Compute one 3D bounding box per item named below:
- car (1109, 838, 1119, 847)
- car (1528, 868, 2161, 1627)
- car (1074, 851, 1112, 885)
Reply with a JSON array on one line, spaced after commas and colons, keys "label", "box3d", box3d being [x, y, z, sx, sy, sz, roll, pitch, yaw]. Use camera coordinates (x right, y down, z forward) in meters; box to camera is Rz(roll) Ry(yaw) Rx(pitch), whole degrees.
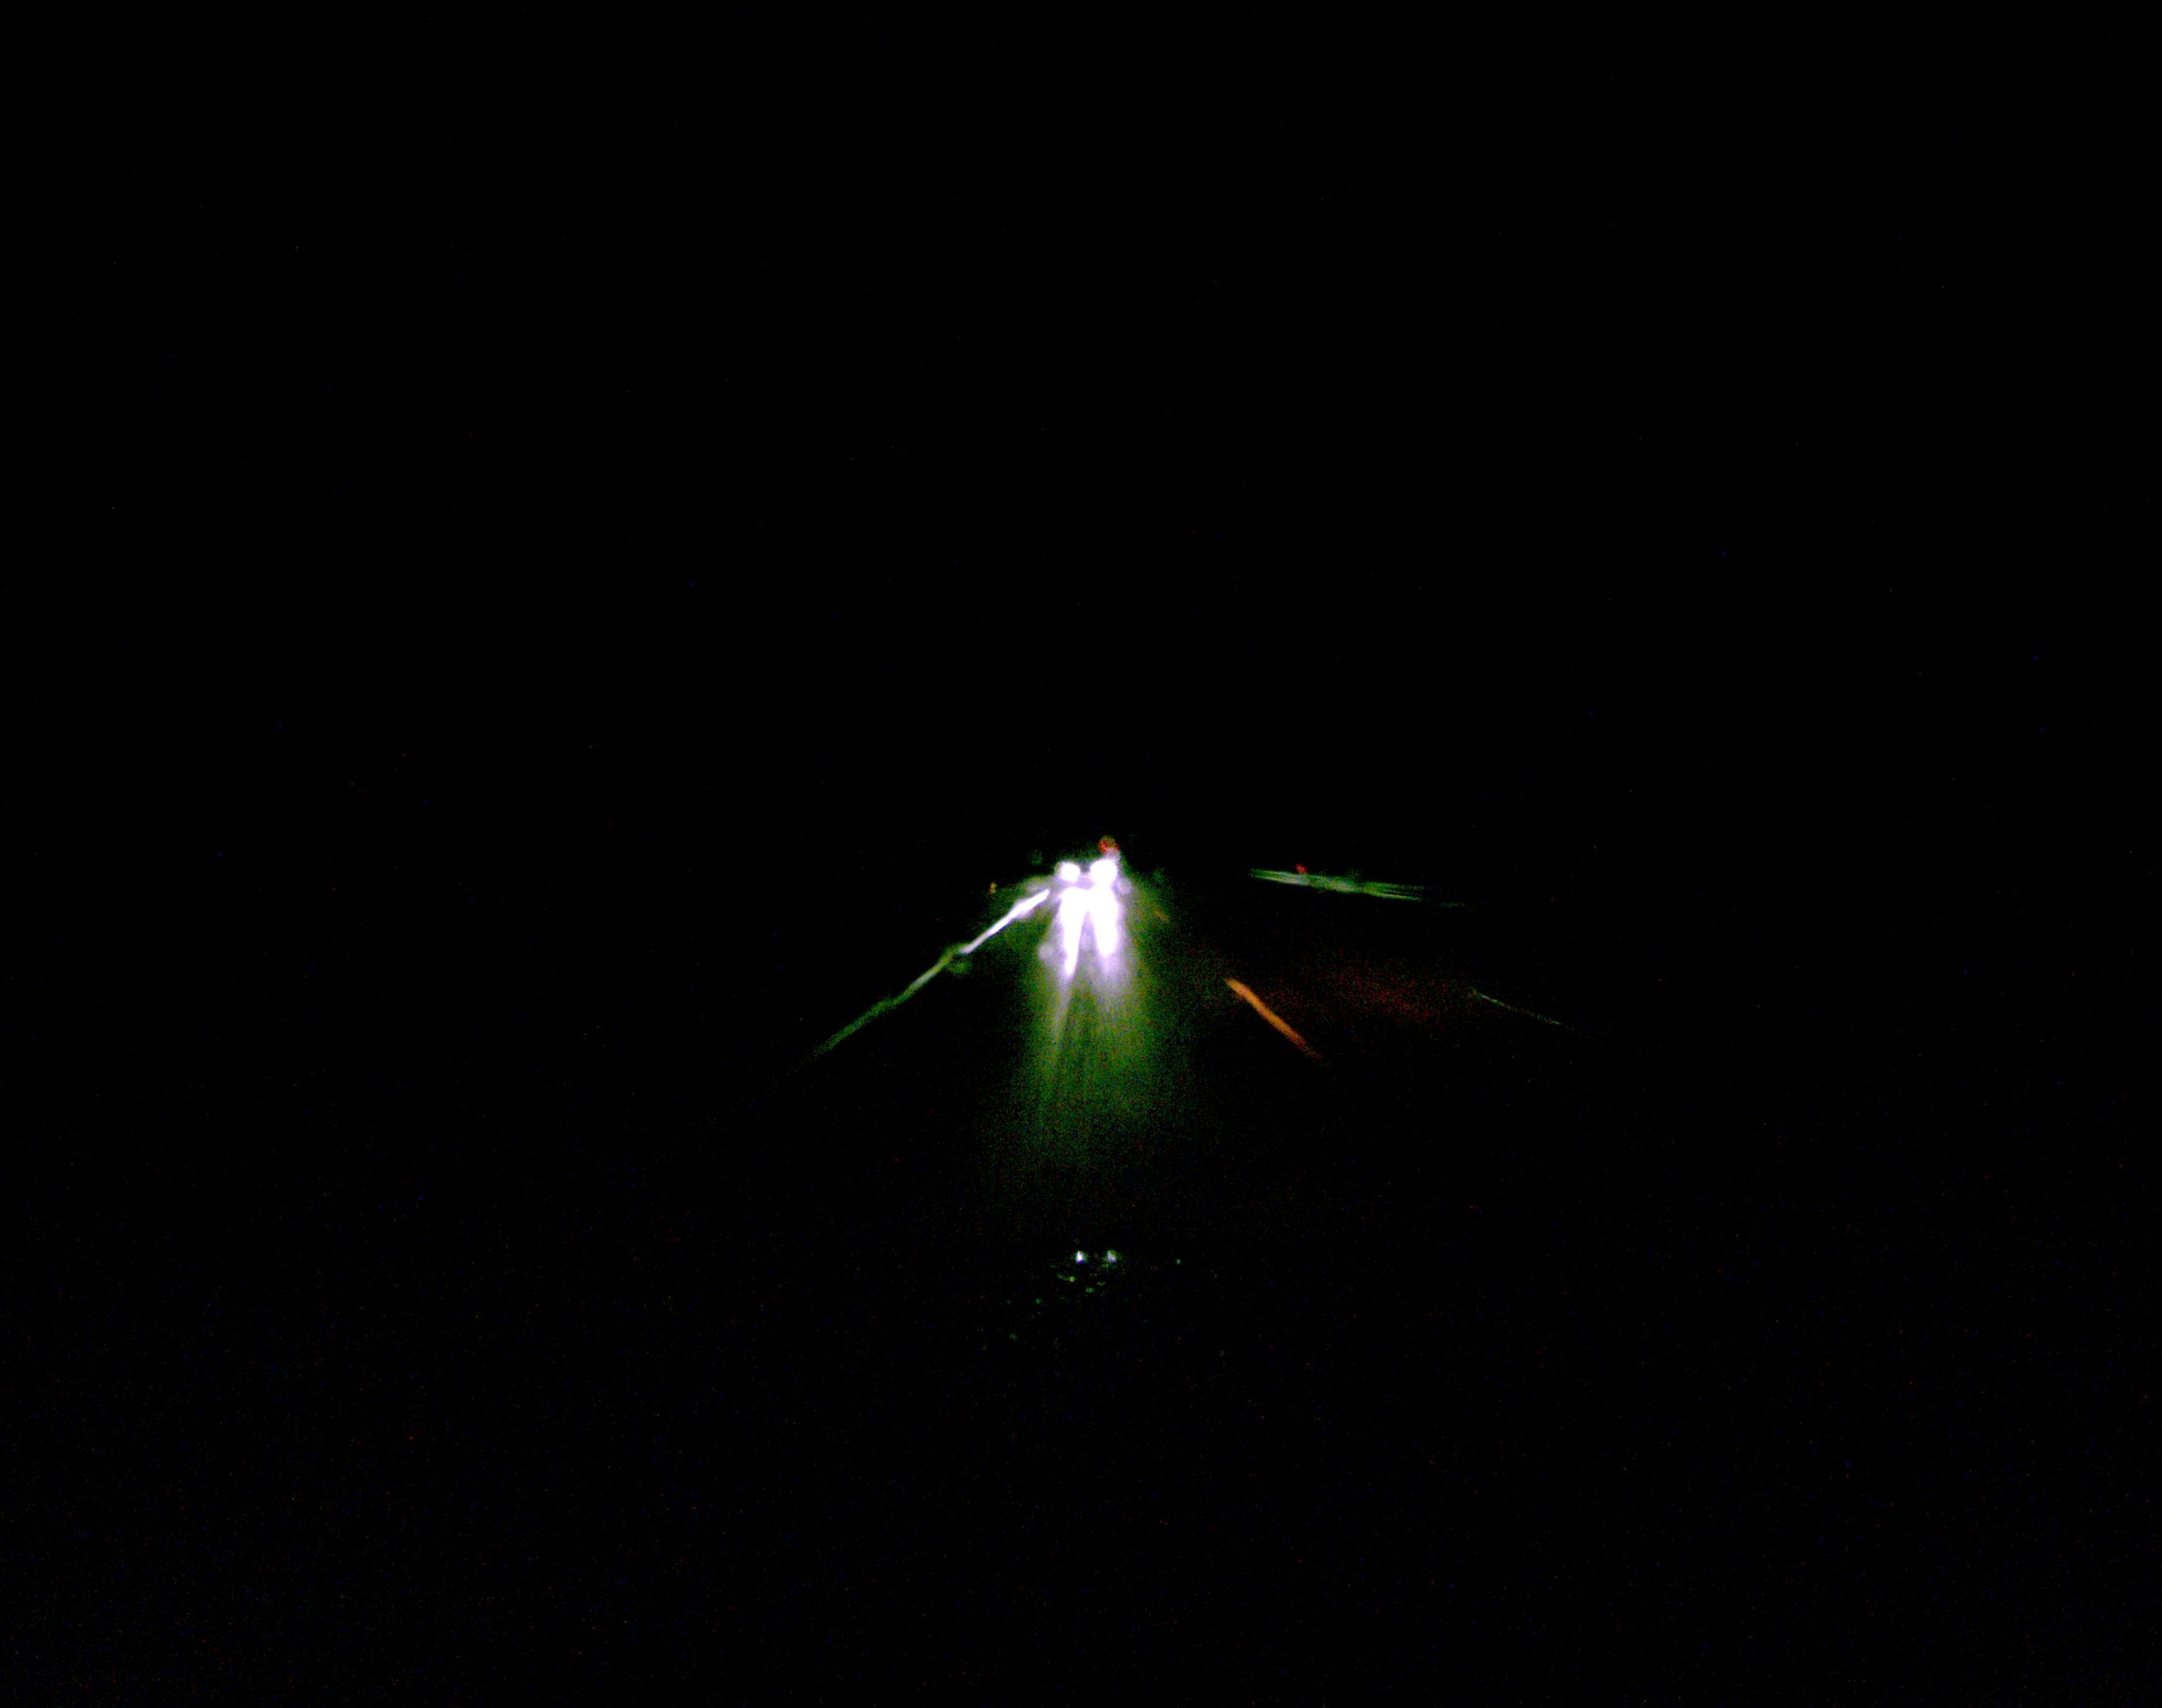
[{"label": "car", "box3d": [6.317, -2.170, 147.000, 1.745, 1.632, 3.598, -3, 2, 0]}, {"label": "car", "box3d": [3.196, 0.865, 1.798, 1.856, 1.480, 3.993, -3, 0, -1]}, {"label": "car", "box3d": [0.580, 0.702, 39.225, 1.745, 1.502, 3.598, -3, 2, -1]}]
